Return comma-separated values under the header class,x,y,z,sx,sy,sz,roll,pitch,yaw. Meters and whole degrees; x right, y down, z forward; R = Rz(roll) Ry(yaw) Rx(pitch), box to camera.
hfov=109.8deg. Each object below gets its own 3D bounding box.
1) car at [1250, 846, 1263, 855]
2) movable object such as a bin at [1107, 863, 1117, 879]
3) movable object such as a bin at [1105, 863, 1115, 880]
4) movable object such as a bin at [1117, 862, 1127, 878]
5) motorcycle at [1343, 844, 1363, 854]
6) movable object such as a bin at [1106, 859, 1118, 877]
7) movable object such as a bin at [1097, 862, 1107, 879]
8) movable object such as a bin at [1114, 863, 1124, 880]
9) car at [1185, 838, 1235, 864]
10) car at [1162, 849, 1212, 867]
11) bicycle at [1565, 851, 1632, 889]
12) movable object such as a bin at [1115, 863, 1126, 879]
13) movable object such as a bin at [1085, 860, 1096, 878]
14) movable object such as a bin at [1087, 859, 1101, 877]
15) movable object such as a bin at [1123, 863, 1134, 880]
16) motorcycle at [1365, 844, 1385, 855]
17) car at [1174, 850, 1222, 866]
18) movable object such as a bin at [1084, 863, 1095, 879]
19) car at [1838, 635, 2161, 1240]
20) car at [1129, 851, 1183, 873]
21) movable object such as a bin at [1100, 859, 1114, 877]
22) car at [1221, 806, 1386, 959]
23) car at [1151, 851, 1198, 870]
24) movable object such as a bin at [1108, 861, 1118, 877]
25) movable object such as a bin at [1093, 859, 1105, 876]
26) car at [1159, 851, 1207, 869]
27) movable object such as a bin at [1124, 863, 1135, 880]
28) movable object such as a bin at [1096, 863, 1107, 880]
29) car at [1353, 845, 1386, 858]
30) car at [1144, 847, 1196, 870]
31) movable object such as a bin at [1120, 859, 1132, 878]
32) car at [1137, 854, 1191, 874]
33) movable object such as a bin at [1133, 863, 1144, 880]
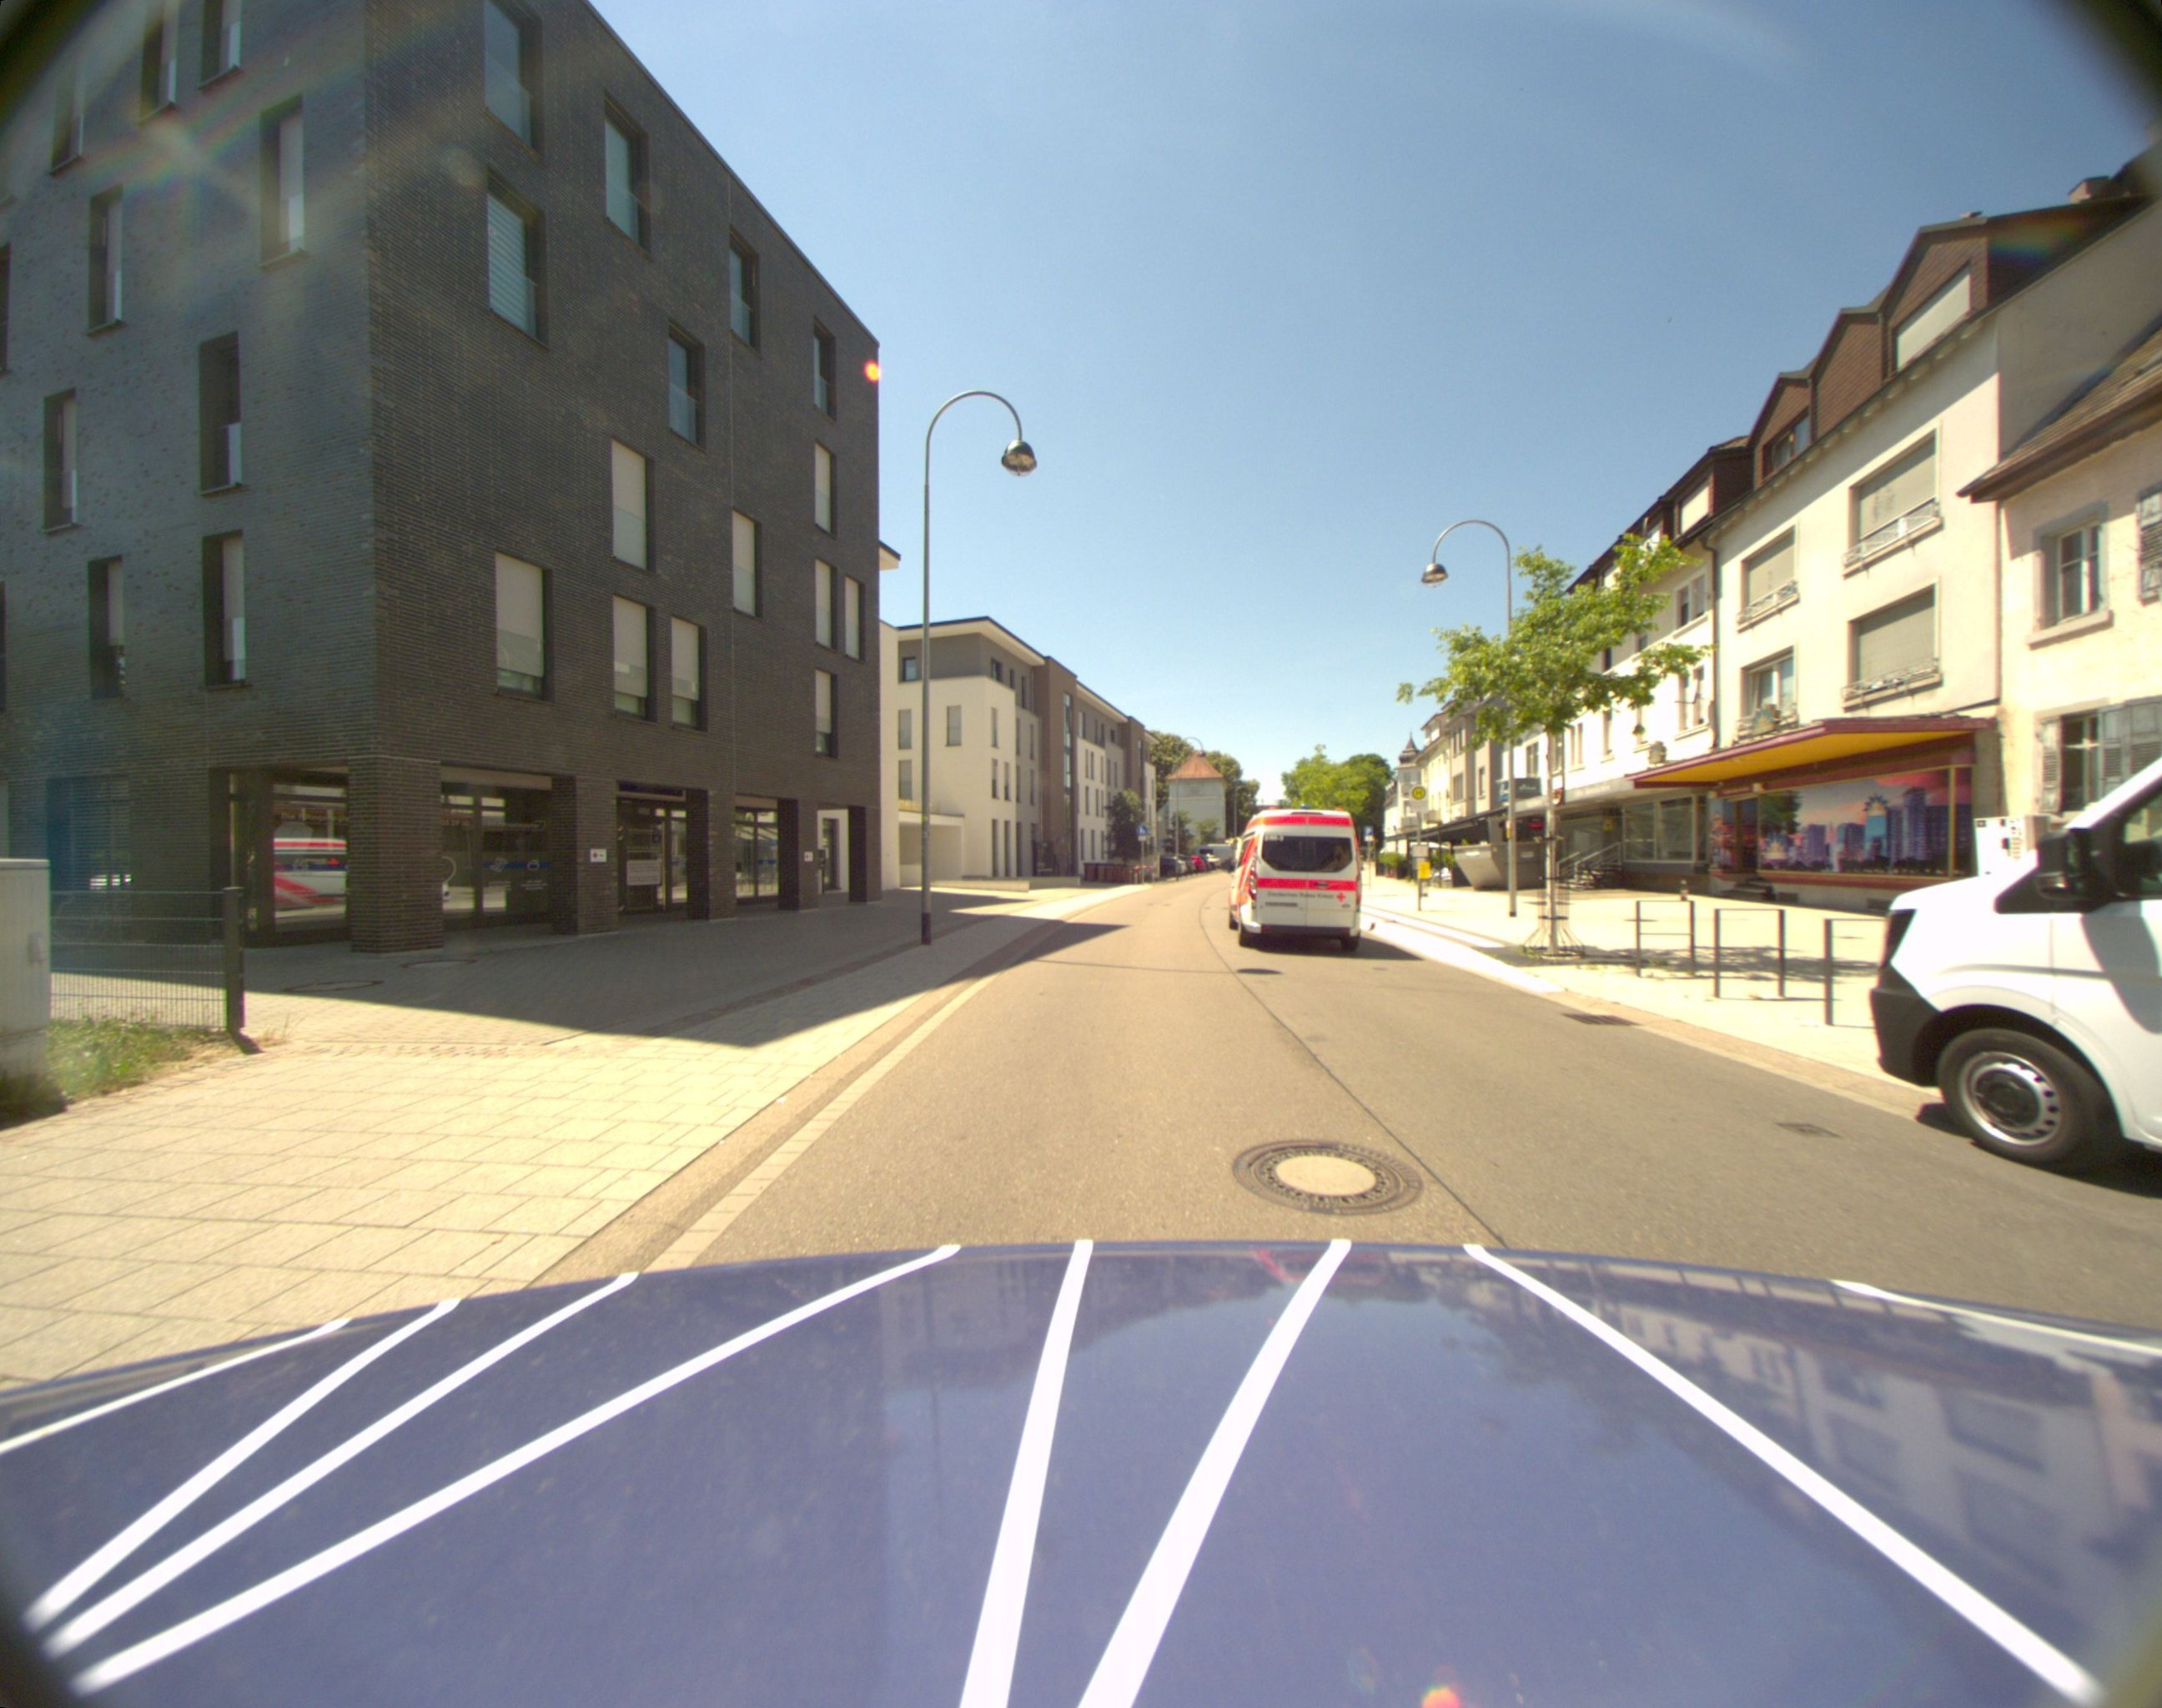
class,x,y,z,sx,sy,sz,roll,pitch,yaw
car,28.474,-0.523,123.369,1.684,1.475,4.088,0,0,8
movable object such as a bin,1.779,0.964,43.737,0.465,0.925,0.523,2,1,17
movable object such as a bin,1.650,0.980,43.177,0.474,0.925,0.529,2,1,17
movable object such as a bin,2.460,0.938,45.128,0.517,0.918,0.437,1,2,-5
motorcycle,35.168,-0.661,98.219,2.319,1.317,0.726,0,1,20
movable object such as a bin,1.898,0.844,46.662,0.647,1.054,0.625,2,1,5
movable object such as a bin,1.221,0.946,43.906,0.465,0.925,0.523,2,1,17
movable object such as a bin,2.154,0.984,43.024,0.474,0.925,0.529,2,1,17
car,13.452,-0.330,79.283,4.860,2.720,1.853,0,1,18
car,9.743,0.353,69.709,4.353,1.542,1.654,1,1,14
bicycle,18.127,0.552,26.645,1.767,1.227,0.617,-3,0,17
movable object such as a bin,2.280,0.976,43.599,0.465,0.925,0.523,2,1,17
movable object such as a bin,0.562,0.907,45.214,0.570,1.036,0.560,2,2,4
movable object such as a bin,0.788,0.833,46.355,0.646,1.054,0.626,2,2,19
movable object such as a bin,2.695,0.998,42.875,0.474,0.925,0.529,2,1,17
motorcycle,36.605,-0.553,94.524,2.319,1.317,0.726,0,1,20
car,11.531,0.393,74.871,4.375,1.520,1.721,1,0,17
movable object such as a bin,0.513,0.970,43.554,0.474,0.925,0.529,2,1,17
car,5.410,0.323,1.669,2.097,2.483,5.504,-2,0,2
car,5.491,0.560,55.710,3.660,1.437,1.537,2,2,19
movable object such as a bin,1.567,0.852,46.095,0.646,1.054,0.626,2,2,19
car,3.945,0.429,14.507,2.160,2.348,5.250,1,0,7
car,7.709,0.501,62.721,3.612,1.454,1.619,1,1,16
movable object such as a bin,1.901,0.918,45.362,0.483,0.918,0.437,1,2,-5
movable object such as a bin,1.118,0.825,46.974,0.647,1.054,0.625,2,1,5
car,8.758,0.476,65.260,3.813,1.454,1.654,0,1,16
movable object such as a bin,2.779,0.988,43.448,0.467,0.925,0.529,2,1,17
movable object such as a bin,1.163,0.977,43.296,0.474,0.925,0.529,2,1,17
car,37.813,-0.370,99.549,4.072,1.729,1.817,0,1,22
car,7.095,0.345,60.453,3.813,1.776,1.842,0,1,15
movable object such as a bin,2.728,0.871,45.876,0.569,1.054,0.561,2,2,19
car,6.265,0.730,57.555,3.813,1.474,1.780,0,1,15
movable object such as a bin,3.294,1.002,43.297,0.474,0.925,0.529,2,1,17
